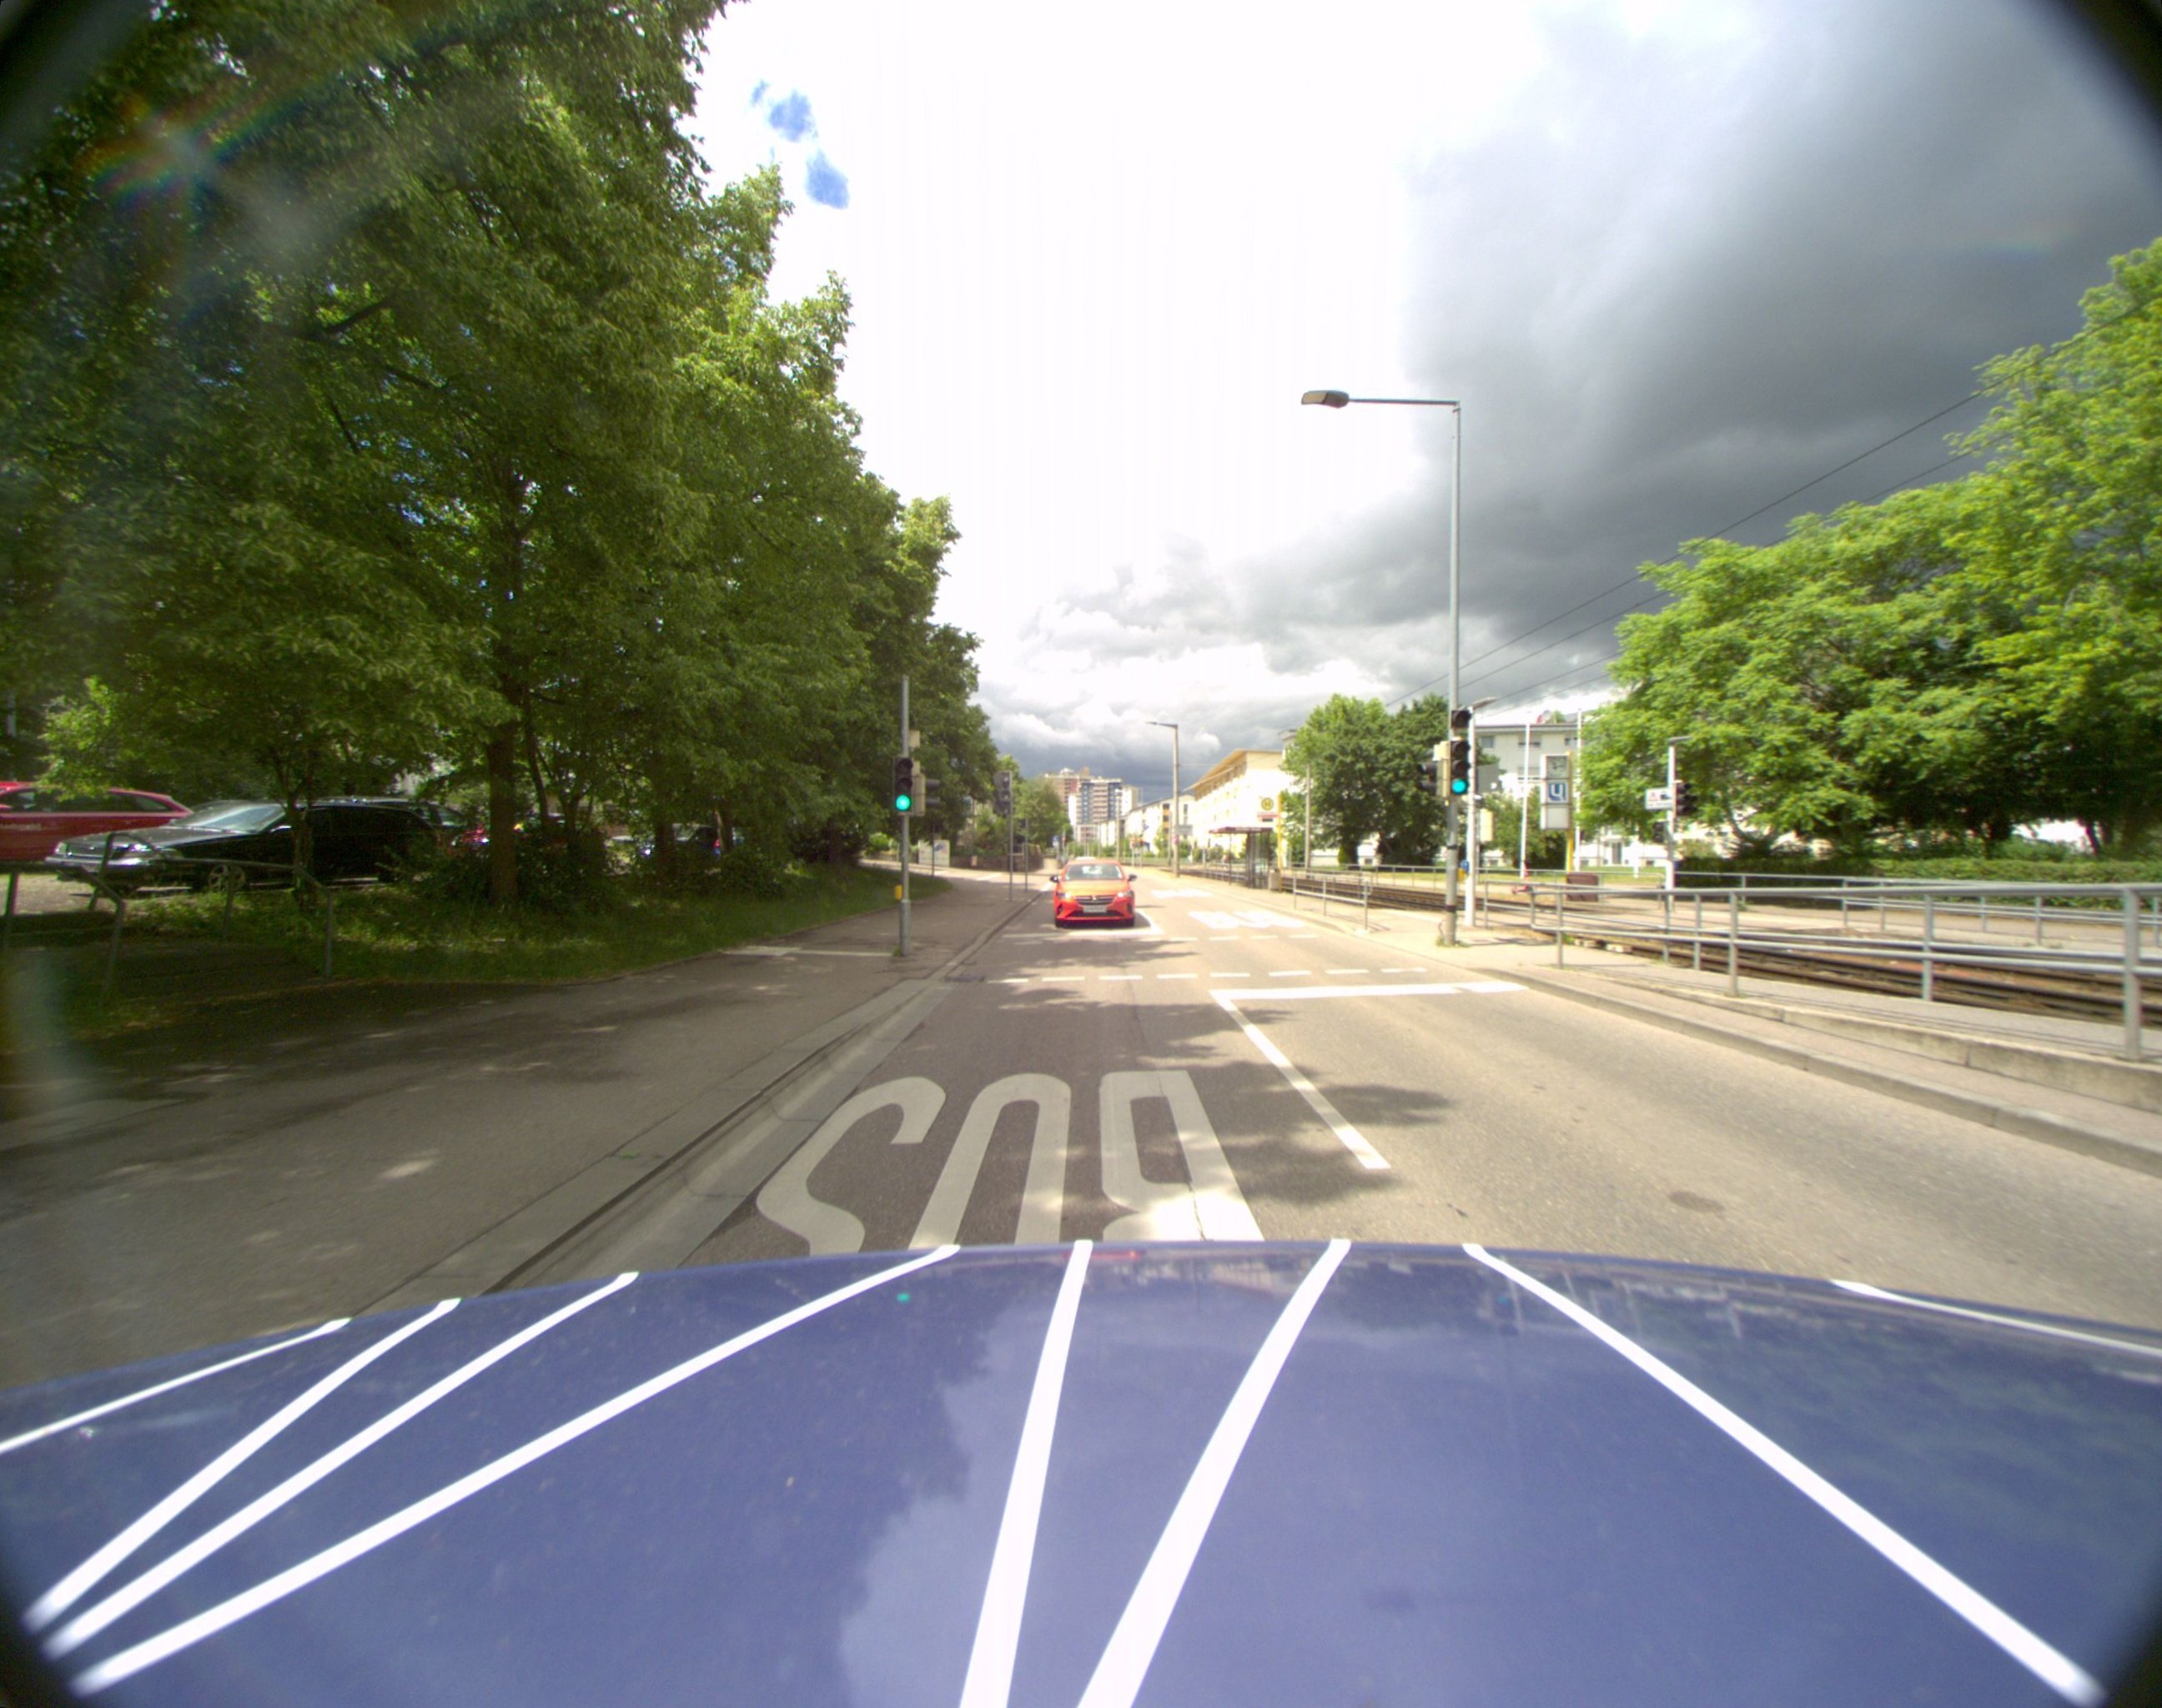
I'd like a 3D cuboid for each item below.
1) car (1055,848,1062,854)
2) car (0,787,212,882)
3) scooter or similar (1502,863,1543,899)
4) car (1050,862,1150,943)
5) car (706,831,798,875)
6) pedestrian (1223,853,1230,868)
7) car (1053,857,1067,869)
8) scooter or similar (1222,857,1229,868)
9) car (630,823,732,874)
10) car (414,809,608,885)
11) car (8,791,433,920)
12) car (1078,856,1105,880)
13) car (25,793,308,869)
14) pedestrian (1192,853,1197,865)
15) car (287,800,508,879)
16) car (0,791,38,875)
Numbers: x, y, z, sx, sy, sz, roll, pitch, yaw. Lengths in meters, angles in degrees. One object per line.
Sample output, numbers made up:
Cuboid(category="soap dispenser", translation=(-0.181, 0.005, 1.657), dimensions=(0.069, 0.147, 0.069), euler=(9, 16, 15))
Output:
Cuboid(category="car", translation=(-7.866, -1.046, 262.842), dimensions=(2.237, 2.050, 4.360), euler=(1, 0, -3))
Cuboid(category="car", translation=(-17.595, -0.345, 12.310), dimensions=(1.756, 1.469, 4.544), euler=(2, 0, 1))
Cuboid(category="scooter or similar", translation=(15.613, 0.953, 26.903), dimensions=(0.651, 1.229, 1.401), euler=(-2, -1, 1))
Cuboid(category="car", translation=(0.282, 0.946, 16.500), dimensions=(1.783, 1.433, 4.130), euler=(-2, 0, -3))
Cuboid(category="car", translation=(-12.108, -0.095, 28.240), dimensions=(1.828, 1.503, 3.812), euler=(1, 2, -2))
Cuboid(category="pedestrian", translation=(16.241, 0.704, 84.598), dimensions=(0.647, 1.683, 0.679), euler=(-1, 1, 1))
Cuboid(category="car", translation=(-2.921, 1.192, 106.041), dimensions=(1.760, 1.570, 4.020), euler=(1, 0, -3))
Cuboid(category="scooter or similar", translation=(16.231, 0.962, 85.395), dimensions=(0.609, 1.156, 0.892), euler=(0, 1, 1))
Cuboid(category="car", translation=(-14.484, -0.243, 27.767), dimensions=(1.683, 1.626, 3.904), euler=(4, 1, -2))
Cuboid(category="car", translation=(-12.952, -0.150, 17.573), dimensions=(1.665, 1.492, 3.662), euler=(2, 0, 1))
Cuboid(category="car", translation=(-12.421, 0.009, 11.471), dimensions=(1.630, 1.505, 4.138), euler=(3, 0, 1))
Cuboid(category="car", translation=(0.641, 0.868, 49.380), dimensions=(1.499, 1.477, 3.519), euler=(0, 0, -3))
Cuboid(category="car", translation=(-20.320, -0.459, 17.192), dimensions=(1.759, 1.433, 3.859), euler=(3, 0, -2))
Cuboid(category="pedestrian", translation=(15.254, 0.634, 102.005), dimensions=(0.605, 1.598, 0.773), euler=(-1, 1, -1))
Cuboid(category="car", translation=(-15.558, -0.310, 17.590), dimensions=(1.756, 1.573, 3.662), euler=(2, 0, 1))
Cuboid(category="car", translation=(-19.702, -0.393, 11.907), dimensions=(1.635, 1.469, 3.662), euler=(2, 0, 1))
